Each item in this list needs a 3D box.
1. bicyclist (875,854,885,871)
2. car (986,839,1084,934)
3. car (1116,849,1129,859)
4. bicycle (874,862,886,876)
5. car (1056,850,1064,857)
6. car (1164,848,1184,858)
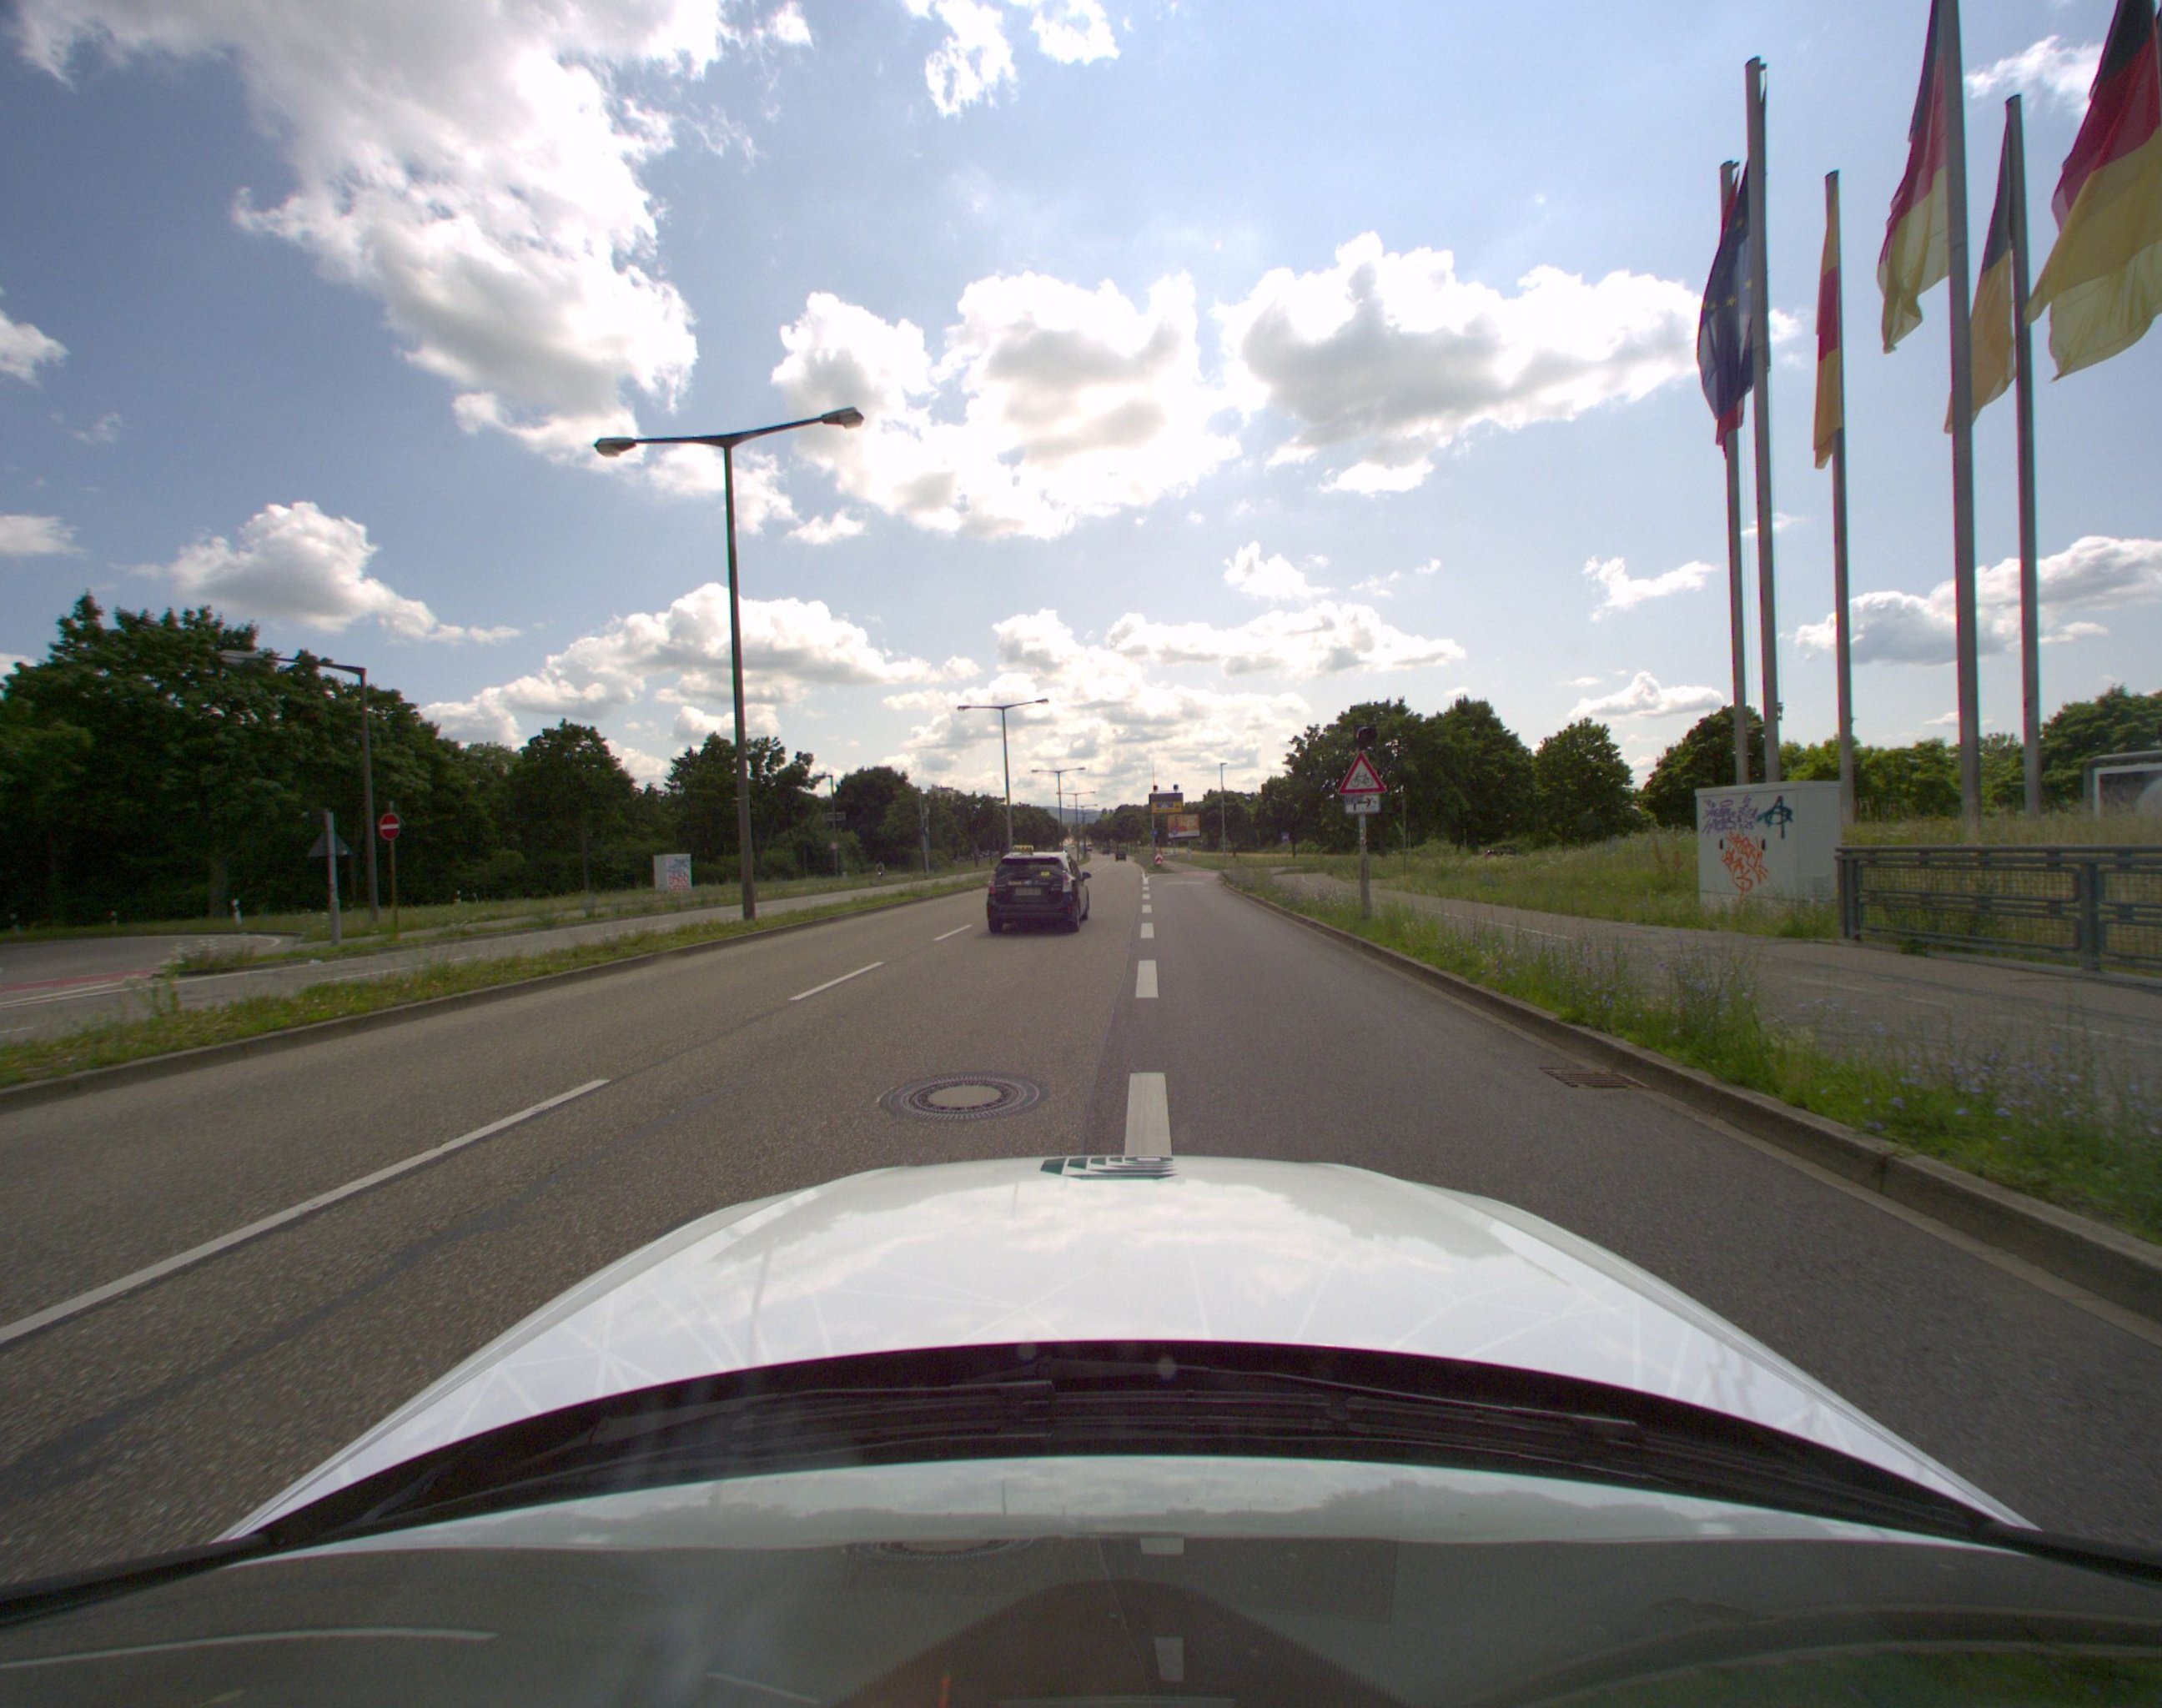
[{"bbox_3d":[-16.278,0.682,65.882,0.519,1.272,1.107,-1,1,0],"label":"bicyclist"},{"bbox_3d":[-0.831,0.565,16.989,1.773,1.683,4.000,-1,1,0],"label":"car"},{"bbox_3d":[7.104,-0.039,139.277,1.987,1.661,4.001,-1,1,1],"label":"car"},{"bbox_3d":[-16.278,1.231,65.941,0.430,1.068,1.908,-1,1,1],"label":"bicycle"},{"bbox_3d":[-5.653,-0.185,218.192,1.870,1.790,4.729,-4,0,1],"label":"car"},{"bbox_3d":[15.099,-0.170,132.771,1.996,1.508,3.982,-1,1,-14],"label":"car"}]
